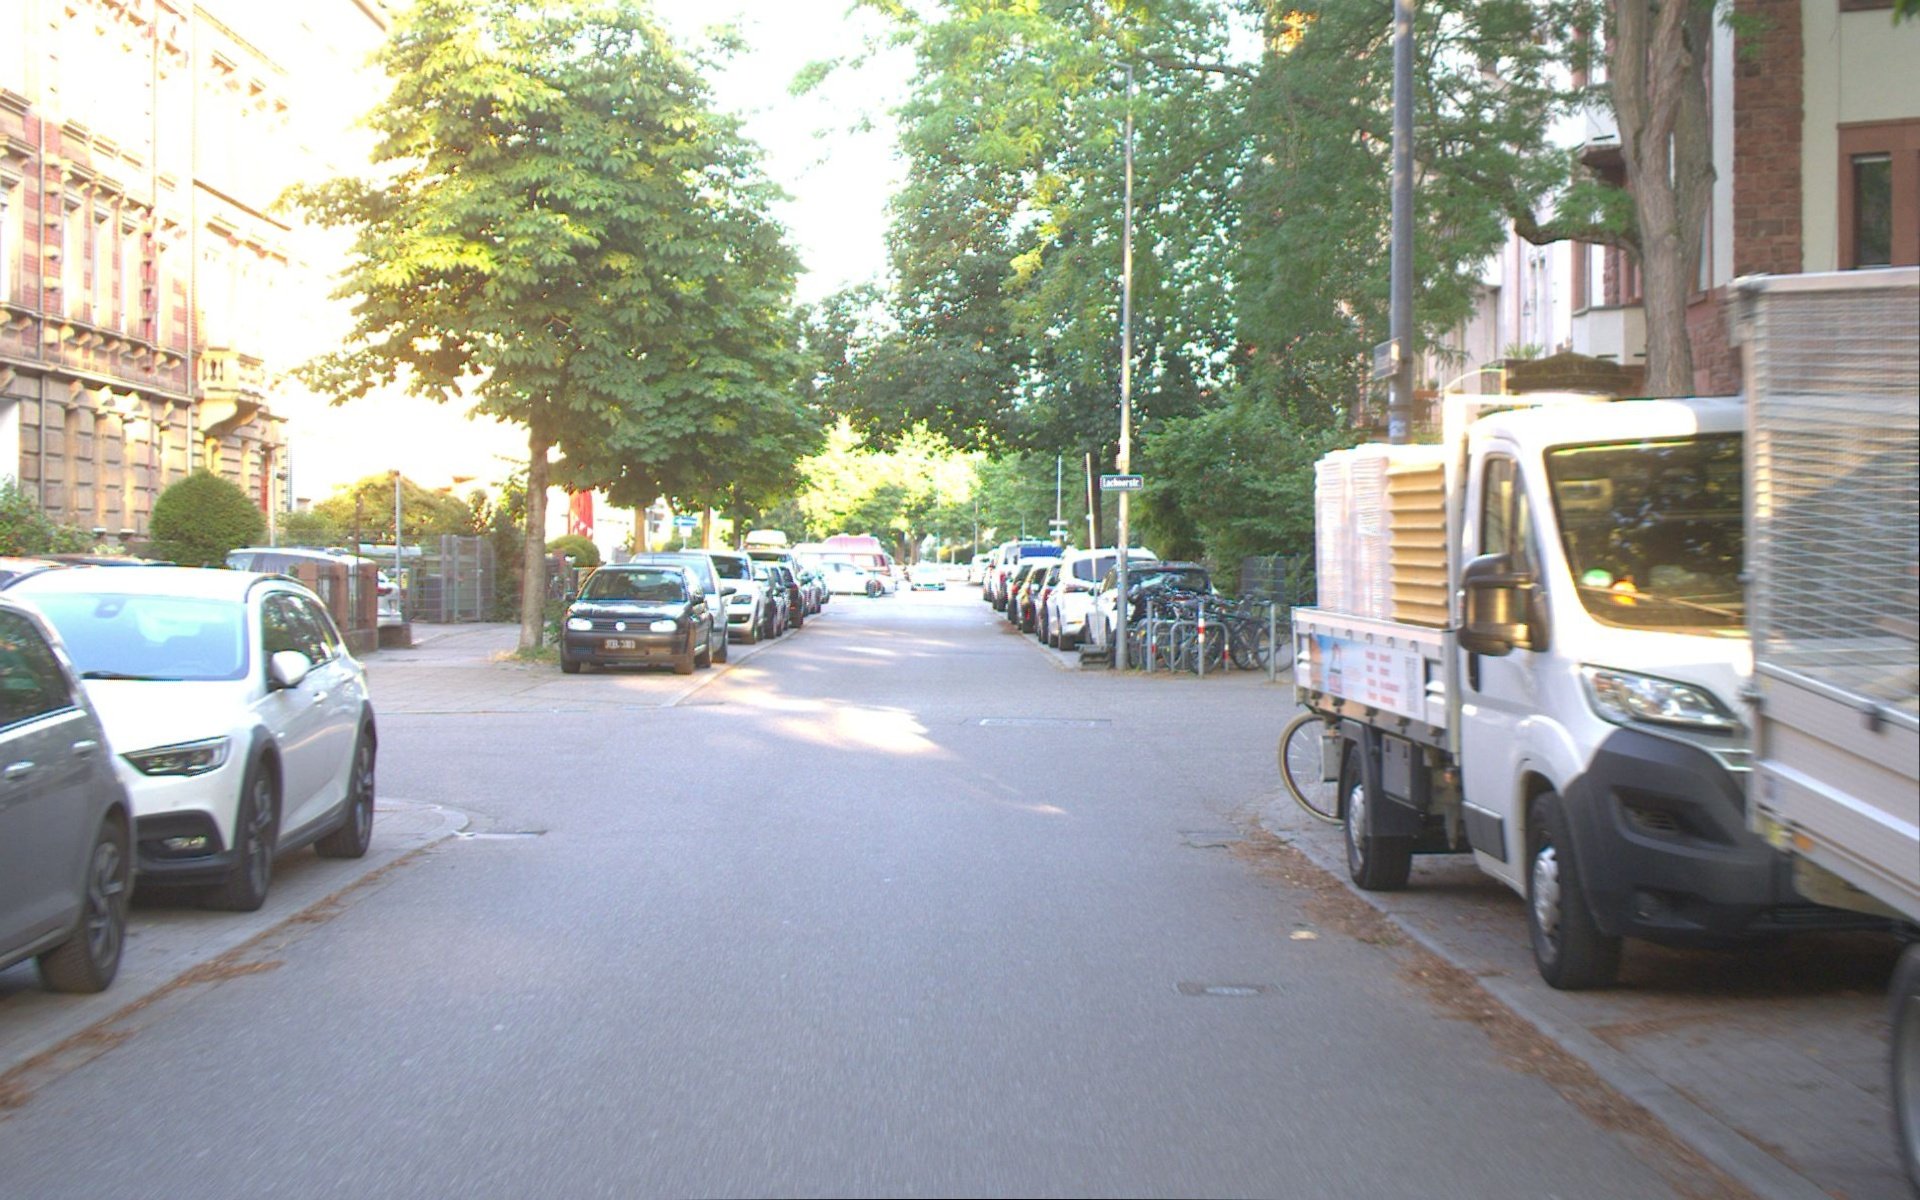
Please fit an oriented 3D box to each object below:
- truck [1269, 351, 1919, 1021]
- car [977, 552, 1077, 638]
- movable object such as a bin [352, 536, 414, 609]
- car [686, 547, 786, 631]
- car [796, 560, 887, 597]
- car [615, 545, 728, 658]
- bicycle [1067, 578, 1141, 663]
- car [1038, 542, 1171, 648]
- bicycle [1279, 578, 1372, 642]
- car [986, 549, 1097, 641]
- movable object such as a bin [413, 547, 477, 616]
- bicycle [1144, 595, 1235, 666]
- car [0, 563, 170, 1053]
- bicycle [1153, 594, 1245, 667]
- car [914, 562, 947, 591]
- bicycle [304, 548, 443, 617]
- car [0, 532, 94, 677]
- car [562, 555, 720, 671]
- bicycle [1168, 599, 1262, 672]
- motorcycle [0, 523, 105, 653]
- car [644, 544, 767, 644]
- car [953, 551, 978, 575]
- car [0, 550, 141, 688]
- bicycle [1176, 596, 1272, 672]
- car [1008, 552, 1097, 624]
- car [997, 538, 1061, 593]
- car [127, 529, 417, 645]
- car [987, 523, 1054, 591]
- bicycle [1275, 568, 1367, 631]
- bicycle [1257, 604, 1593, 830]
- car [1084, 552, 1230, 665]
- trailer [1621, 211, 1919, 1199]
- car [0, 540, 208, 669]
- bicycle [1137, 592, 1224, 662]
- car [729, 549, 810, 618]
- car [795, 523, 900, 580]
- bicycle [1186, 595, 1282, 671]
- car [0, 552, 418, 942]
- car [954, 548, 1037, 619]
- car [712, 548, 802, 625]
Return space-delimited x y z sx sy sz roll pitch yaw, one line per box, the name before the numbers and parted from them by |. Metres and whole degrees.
truck | 2.785 0.268 14.912 1.977 2.237 6.777 0 0 -3
car | 1.283 -0.106 67.338 1.686 1.600 3.749 1 0 -3
movable object such as a bin | -11.597 -0.555 69.042 1.096 1.409 1.005 2 1 -14
car | -4.352 -0.208 67.101 1.715 1.561 3.781 1 0 -1
car | -4.863 -0.898 140.771 3.618 1.456 1.607 1 1 -4
car | -4.270 -0.009 51.236 1.595 1.598 3.745 1 1 -4
bicycle | 2.031 0.282 48.335 0.444 1.169 1.634 1 1 25
car | 2.365 -0.099 57.385 1.798 1.705 4.601 0 0 -3
bicycle | 6.127 0.165 57.661 1.509 1.030 0.330 -1 2 -2
car | 1.455 -0.106 62.764 1.686 1.600 4.210 1 0 -3
movable object such as a bin | -10.368 -0.380 69.214 1.013 1.316 1.005 3 1 4
bicycle | 3.171 0.420 47.501 1.224 0.944 0.330 -1 2 -22
car | -3.773 0.627 10.641 1.689 1.497 4.402 1 0 -1
bicycle | 3.249 0.414 46.801 1.224 0.954 0.330 -1 2 -22
car | -1.655 -1.320 191.187 1.813 1.590 3.483 1 1 -1
bicycle | -11.391 -0.346 66.765 2.529 1.188 0.643 3 1 6
car | -11.366 -0.003 36.011 4.094 1.442 1.708 1 2 9
car | -4.251 0.143 46.357 1.616 1.465 3.961 1 1 2
bicycle | 3.444 0.477 46.409 1.223 0.960 0.330 -1 2 -17
motorcycle | -12.428 -0.161 43.973 2.853 1.633 0.675 1 1 8
car | -4.578 -0.145 62.328 1.921 1.711 4.428 1 1 -1
car | 0.379 -2.585 240.270 1.715 1.590 3.483 1 1 -1
car | -11.461 0.171 38.421 4.094 1.442 1.817 1 2 10
bicycle | 3.496 0.447 45.488 1.224 0.983 0.330 -1 2 -2
car | 1.928 -0.258 72.644 1.686 1.436 4.210 -1 0 -1
car | 1.941 -0.962 97.016 1.538 1.516 3.432 1 0 -3
car | -10.639 -0.216 53.348 4.092 1.522 1.709 4 1 -1
car | 1.766 -1.261 101.001 1.680 1.934 3.881 1 0 -3
bicycle | 6.119 -0.011 58.285 1.509 1.030 0.330 -1 2 -2
bicycle | 2.767 0.687 20.485 1.902 1.254 0.407 -2 1 -6
car | 2.898 0.098 51.224 1.686 1.587 3.659 0 1 -4
trailer | 2.998 0.288 7.825 1.954 2.288 4.645 -2 1 -1
car | -11.023 0.029 41.070 3.564 1.442 1.817 1 2 9
bicycle | 3.085 0.373 48.113 1.224 0.948 0.330 -1 2 -28
car | -4.576 -0.414 82.966 1.715 1.590 4.519 1 1 -1
car | -4.699 -2.041 143.500 4.349 2.310 1.746 1 1 -2
bicycle | 3.654 0.438 45.876 1.224 0.984 0.330 -1 2 -4
car | -3.861 0.575 16.536 1.689 1.497 4.738 3 1 0
car | 0.806 -0.389 80.682 1.686 1.600 3.940 1 0 -3
car | -4.342 -0.311 73.879 1.715 1.561 3.788 1 1 -1
